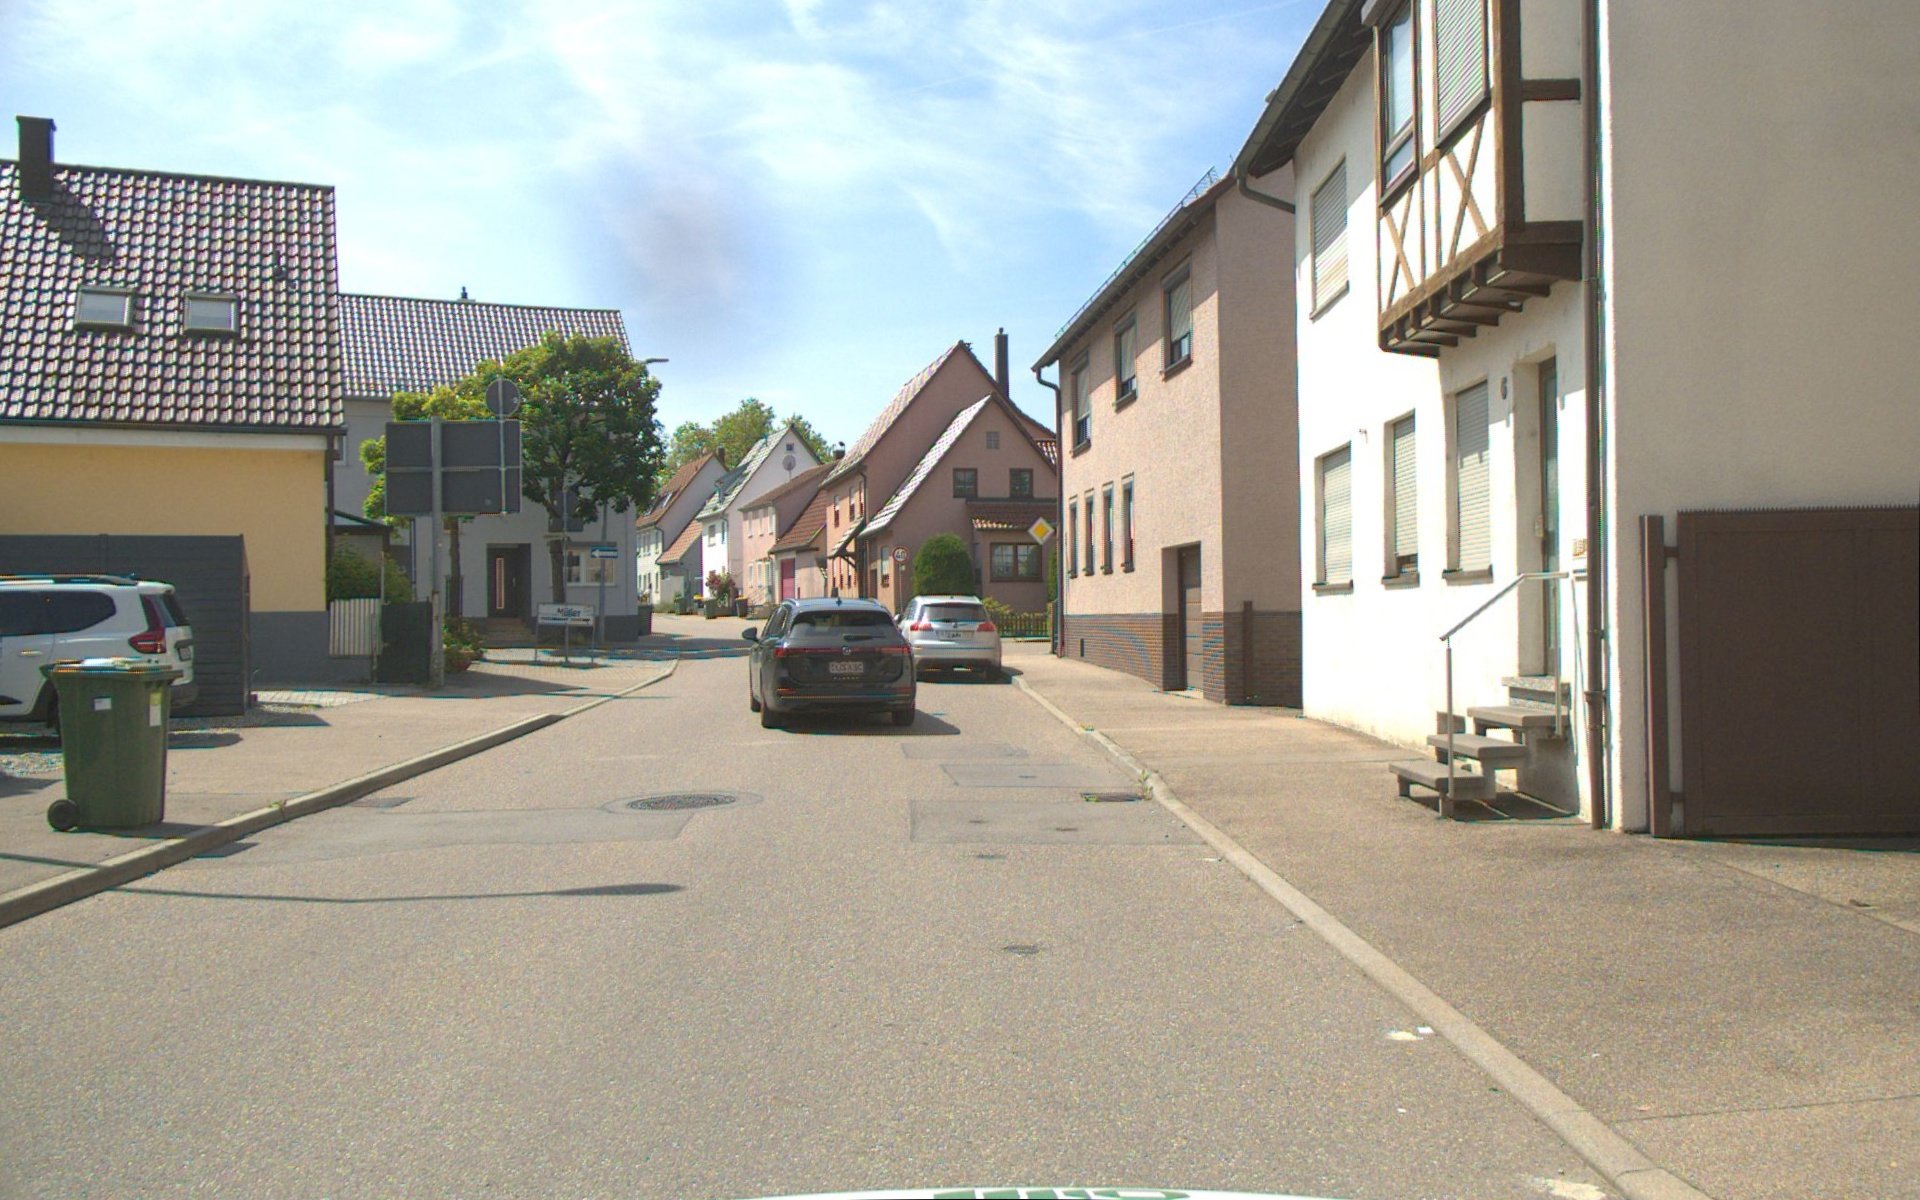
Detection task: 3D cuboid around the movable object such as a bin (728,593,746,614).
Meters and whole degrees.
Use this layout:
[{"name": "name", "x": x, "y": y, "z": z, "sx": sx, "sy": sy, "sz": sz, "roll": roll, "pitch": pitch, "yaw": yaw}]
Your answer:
[{"name": "movable object such as a bin", "x": -12.026, "y": 0.189, "z": 89.082, "sx": 0.670, "sy": 1.068, "sz": 0.828, "roll": -5, "pitch": 2, "yaw": -25}]

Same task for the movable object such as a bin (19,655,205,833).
[{"name": "movable object such as a bin", "x": -5.590, "y": 0.930, "z": 10.949, "sx": 0.809, "sy": 1.096, "sz": 0.818, "roll": 0, "pitch": 0, "yaw": -1}]

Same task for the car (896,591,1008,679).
[{"name": "car", "x": -0.217, "y": 0.587, "z": 30.333, "sx": 1.750, "sy": 1.467, "sz": 4.333, "roll": 0, "pitch": 0, "yaw": -4}]

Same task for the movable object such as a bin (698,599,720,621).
[{"name": "movable object such as a bin", "x": -13.592, "y": 0.527, "z": 89.569, "sx": 0.865, "sy": 1.093, "sz": 0.866, "roll": -5, "pitch": 2, "yaw": -25}]

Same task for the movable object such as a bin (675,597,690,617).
[{"name": "movable object such as a bin", "x": -16.549, "y": 0.436, "z": 98.534, "sx": 0.669, "sy": 1.175, "sz": 0.814, "roll": 0, "pitch": 0, "yaw": -25}]

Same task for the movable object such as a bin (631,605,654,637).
[{"name": "movable object such as a bin", "x": -10.910, "y": 0.702, "z": 56.744, "sx": 0.741, "sy": 1.079, "sz": 0.677, "roll": 0, "pitch": 0, "yaw": -15}]

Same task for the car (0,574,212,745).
[{"name": "car", "x": -10.162, "y": 0.589, "z": 16.841, "sx": 4.328, "sy": 1.651, "sz": 1.992, "roll": 0, "pitch": 0, "yaw": -15}]

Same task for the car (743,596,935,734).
[{"name": "car", "x": -1.587, "y": 0.687, "z": 20.084, "sx": 1.808, "sy": 1.445, "sz": 4.670, "roll": 0, "pitch": 0, "yaw": -11}]
